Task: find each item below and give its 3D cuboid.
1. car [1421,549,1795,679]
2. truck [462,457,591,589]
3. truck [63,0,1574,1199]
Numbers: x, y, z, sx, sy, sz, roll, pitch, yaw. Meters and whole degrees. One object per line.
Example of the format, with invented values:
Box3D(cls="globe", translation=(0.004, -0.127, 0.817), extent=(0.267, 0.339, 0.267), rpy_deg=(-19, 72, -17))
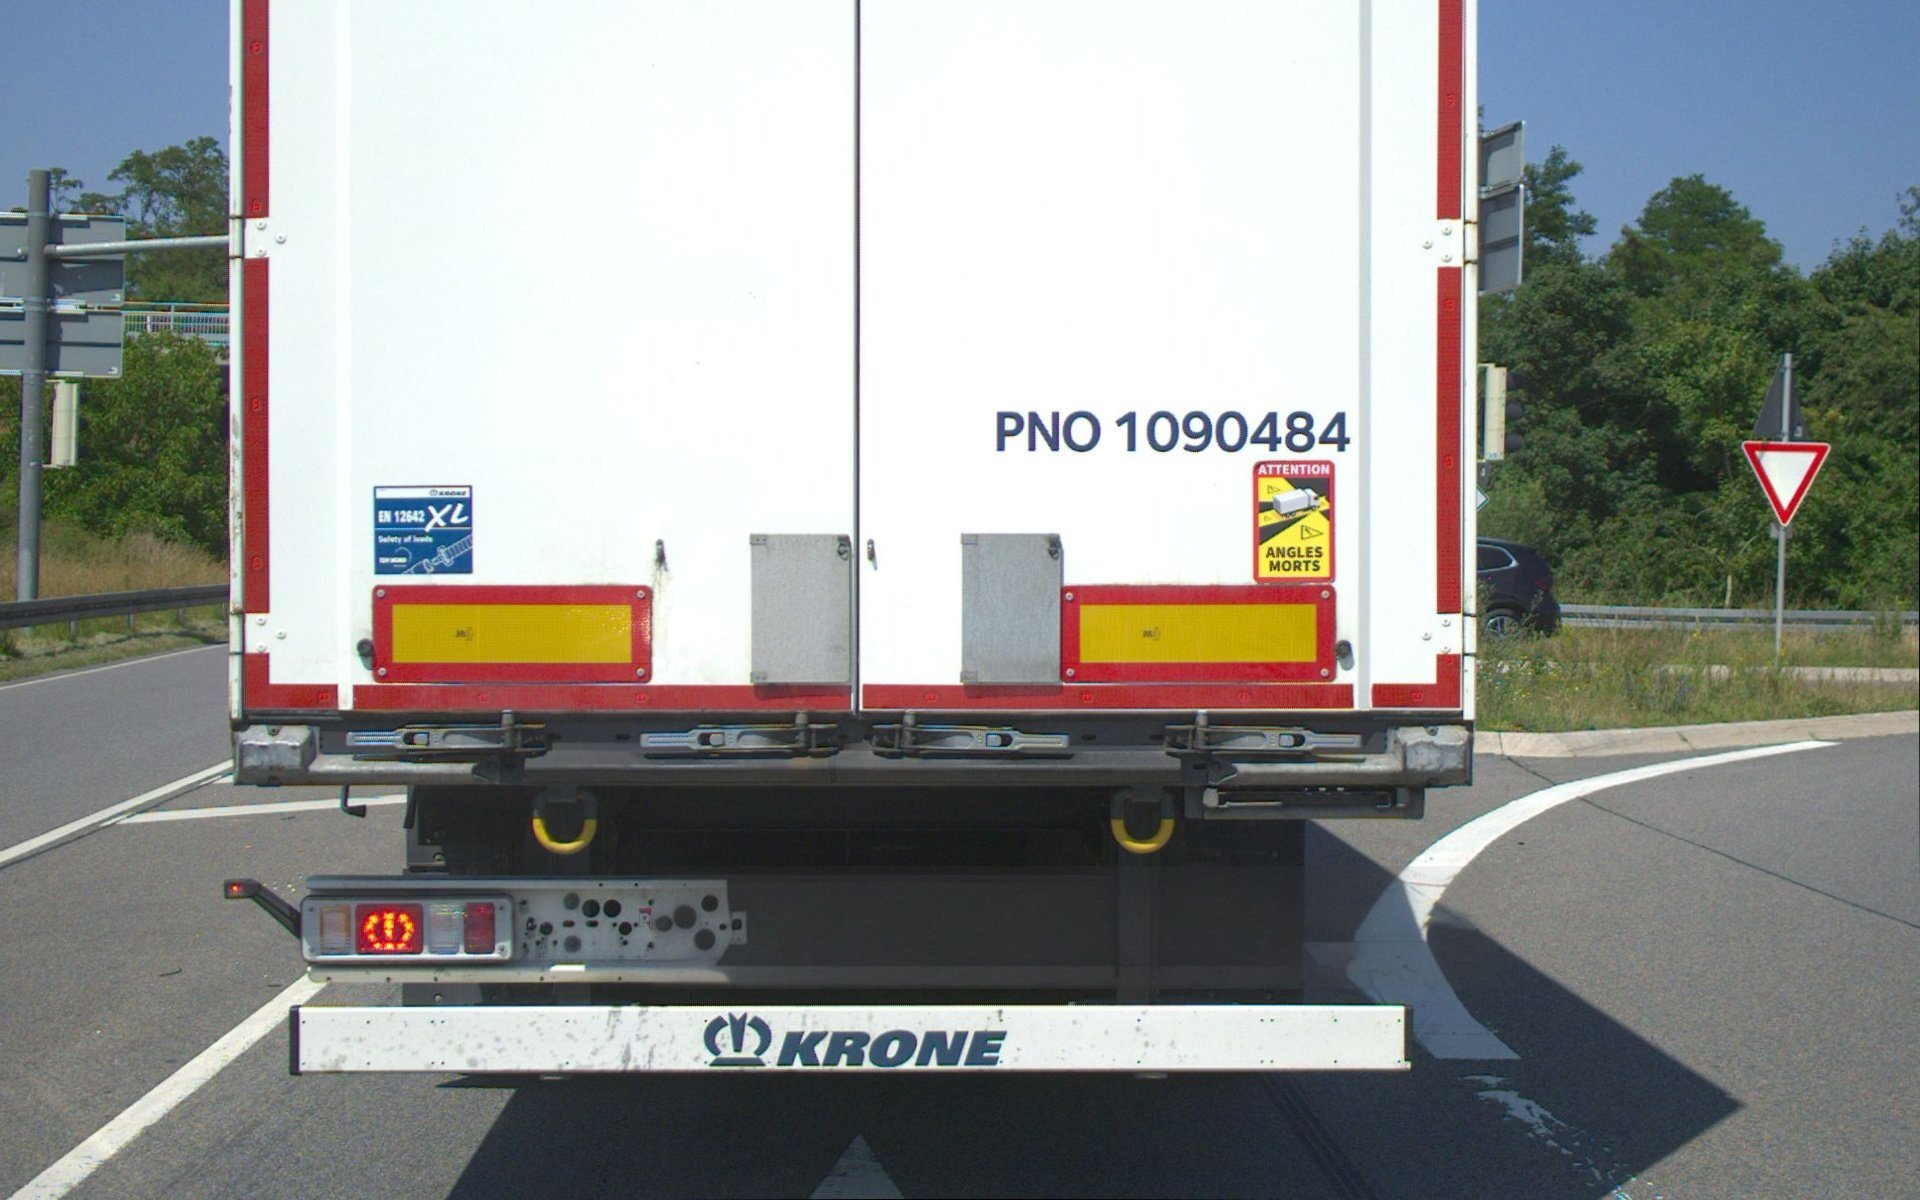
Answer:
Box3D(cls="car", translation=(8.270, 0.166, 44.129), extent=(4.486, 1.592, 1.767), rpy_deg=(1, 0, 2))
Box3D(cls="truck", translation=(-12.083, -2.106, 96.415), extent=(2.644, 3.526, 7.890), rpy_deg=(1, 0, -1))
Box3D(cls="truck", translation=(-0.378, -0.660, 11.781), extent=(2.987, 3.928, 9.876), rpy_deg=(1, 1, -1))
